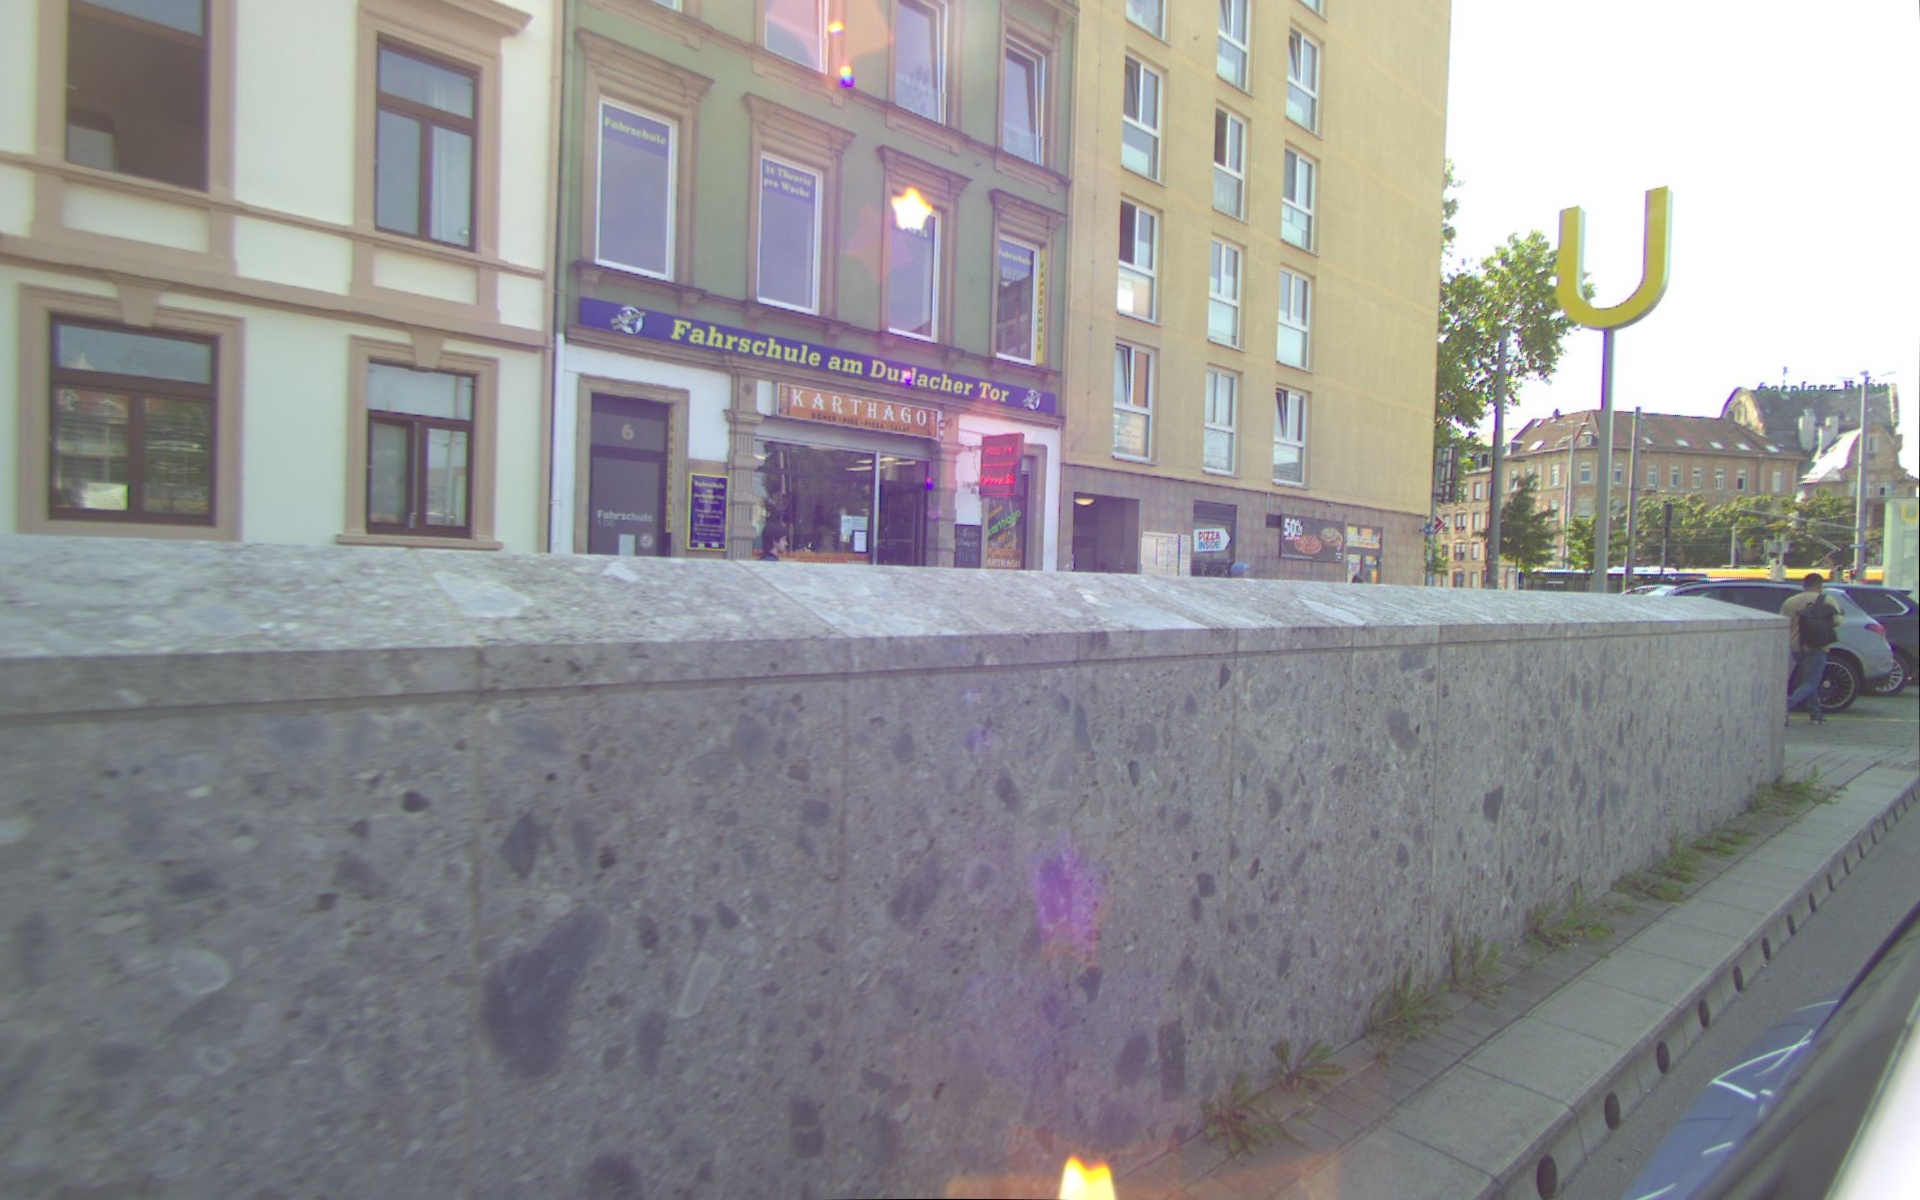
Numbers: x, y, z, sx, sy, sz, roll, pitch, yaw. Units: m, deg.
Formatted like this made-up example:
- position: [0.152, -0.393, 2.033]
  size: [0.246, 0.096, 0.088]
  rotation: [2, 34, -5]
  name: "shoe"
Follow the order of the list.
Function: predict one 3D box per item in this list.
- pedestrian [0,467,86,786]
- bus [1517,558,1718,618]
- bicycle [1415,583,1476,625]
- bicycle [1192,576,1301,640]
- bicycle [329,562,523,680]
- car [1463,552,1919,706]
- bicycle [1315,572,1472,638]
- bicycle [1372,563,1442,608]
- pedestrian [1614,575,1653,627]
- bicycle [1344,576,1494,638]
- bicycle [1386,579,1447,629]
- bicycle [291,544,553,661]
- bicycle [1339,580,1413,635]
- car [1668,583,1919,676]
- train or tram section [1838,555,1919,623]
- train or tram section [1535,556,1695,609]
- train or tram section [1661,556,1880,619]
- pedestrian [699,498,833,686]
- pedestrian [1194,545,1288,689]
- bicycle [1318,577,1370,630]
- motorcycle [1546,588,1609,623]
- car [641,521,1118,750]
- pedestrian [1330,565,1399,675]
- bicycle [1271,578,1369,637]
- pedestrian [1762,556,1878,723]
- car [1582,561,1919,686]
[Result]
- position: [-5.241, 0.125, 5.109]
  size: [0.841, 1.601, 0.966]
  rotation: [2, 2, 16]
  name: "pedestrian"
- position: [38.181, -0.848, 59.666]
  size: [2.679, 3.102, 12.102]
  rotation: [2, 2, -7]
  name: "bus"
- position: [15.167, 0.121, 31.597]
  size: [2.392, 1.254, 0.793]
  rotation: [0, 2, -41]
  name: "bicycle"
- position: [6.006, 0.159, 21.180]
  size: [2.378, 1.254, 0.941]
  rotation: [1, 2, -38]
  name: "bicycle"
- position: [-5.802, 0.208, 11.071]
  size: [1.815, 1.198, 0.459]
  rotation: [0, 2, -41]
  name: "bicycle"
- position: [9.613, 0.306, 13.631]
  size: [4.587, 1.735, 2.040]
  rotation: [2, 2, 8]
  name: "car"
- position: [10.388, 0.089, 24.396]
  size: [3.314, 1.422, 0.900]
  rotation: [2, 1, 14]
  name: "bicycle"
- position: [12.978, -0.429, 29.398]
  size: [1.721, 1.221, 0.580]
  rotation: [3, 2, 43]
  name: "bicycle"
- position: [21.879, 0.024, 32.876]
  size: [0.934, 1.628, 0.792]
  rotation: [-1, 3, -44]
  name: "pedestrian"
- position: [11.729, 0.147, 26.002]
  size: [3.314, 1.422, 0.900]
  rotation: [2, 1, 14]
  name: "bicycle"
- position: [12.045, 0.101, 26.690]
  size: [1.926, 1.262, 0.729]
  rotation: [0, 2, -42]
  name: "bicycle"
- position: [-5.779, 0.060, 11.006]
  size: [2.426, 1.161, 0.481]
  rotation: [3, 0, -39]
  name: "bicycle"
- position: [9.967, 0.165, 24.259]
  size: [1.514, 1.254, 0.593]
  rotation: [2, 1, -8]
  name: "bicycle"
- position: [15.063, 0.500, 17.891]
  size: [3.723, 1.519, 1.802]
  rotation: [1, -1, 9]
  name: "car"
- position: [52.720, -0.471, 52.262]
  size: [2.542, 3.604, 12.240]
  rotation: [2, 2, -9]
  name: "train or tram section"
- position: [48.999, -1.426, 76.428]
  size: [2.542, 3.604, 12.240]
  rotation: [2, 2, -9]
  name: "train or tram section"
- position: [50.920, -0.949, 64.353]
  size: [2.542, 3.604, 12.240]
  rotation: [2, 2, -9]
  name: "train or tram section"
- position: [-1.751, -0.096, 9.234]
  size: [0.841, 1.601, 0.966]
  rotation: [2, 2, 16]
  name: "pedestrian"
- position: [3.491, 0.188, 12.562]
  size: [0.926, 1.706, 0.672]
  rotation: [1, 2, -41]
  name: "pedestrian"
- position: [9.395, 0.086, 24.716]
  size: [1.797, 1.254, 0.409]
  rotation: [0, 2, -44]
  name: "bicycle"
- position: [21.304, 0.201, 34.913]
  size: [2.069, 1.151, 0.914]
  rotation: [1, 2, -28]
  name: "motorcycle"
- position: [-0.526, 0.219, 8.215]
  size: [3.556, 1.458, 1.634]
  rotation: [1, 1, -41]
  name: "car"
- position: [6.184, 0.276, 15.529]
  size: [0.841, 1.601, 0.966]
  rotation: [2, 2, 16]
  name: "pedestrian"
- position: [8.210, 0.155, 23.015]
  size: [2.378, 1.254, 0.941]
  rotation: [1, 2, -38]
  name: "bicycle"
- position: [9.618, 0.432, 11.328]
  size: [0.857, 1.774, 0.867]
  rotation: [3, -3, -42]
  name: "pedestrian"
- position: [12.656, 0.312, 15.981]
  size: [4.319, 1.708, 1.983]
  rotation: [2, 2, 8]
  name: "car"
